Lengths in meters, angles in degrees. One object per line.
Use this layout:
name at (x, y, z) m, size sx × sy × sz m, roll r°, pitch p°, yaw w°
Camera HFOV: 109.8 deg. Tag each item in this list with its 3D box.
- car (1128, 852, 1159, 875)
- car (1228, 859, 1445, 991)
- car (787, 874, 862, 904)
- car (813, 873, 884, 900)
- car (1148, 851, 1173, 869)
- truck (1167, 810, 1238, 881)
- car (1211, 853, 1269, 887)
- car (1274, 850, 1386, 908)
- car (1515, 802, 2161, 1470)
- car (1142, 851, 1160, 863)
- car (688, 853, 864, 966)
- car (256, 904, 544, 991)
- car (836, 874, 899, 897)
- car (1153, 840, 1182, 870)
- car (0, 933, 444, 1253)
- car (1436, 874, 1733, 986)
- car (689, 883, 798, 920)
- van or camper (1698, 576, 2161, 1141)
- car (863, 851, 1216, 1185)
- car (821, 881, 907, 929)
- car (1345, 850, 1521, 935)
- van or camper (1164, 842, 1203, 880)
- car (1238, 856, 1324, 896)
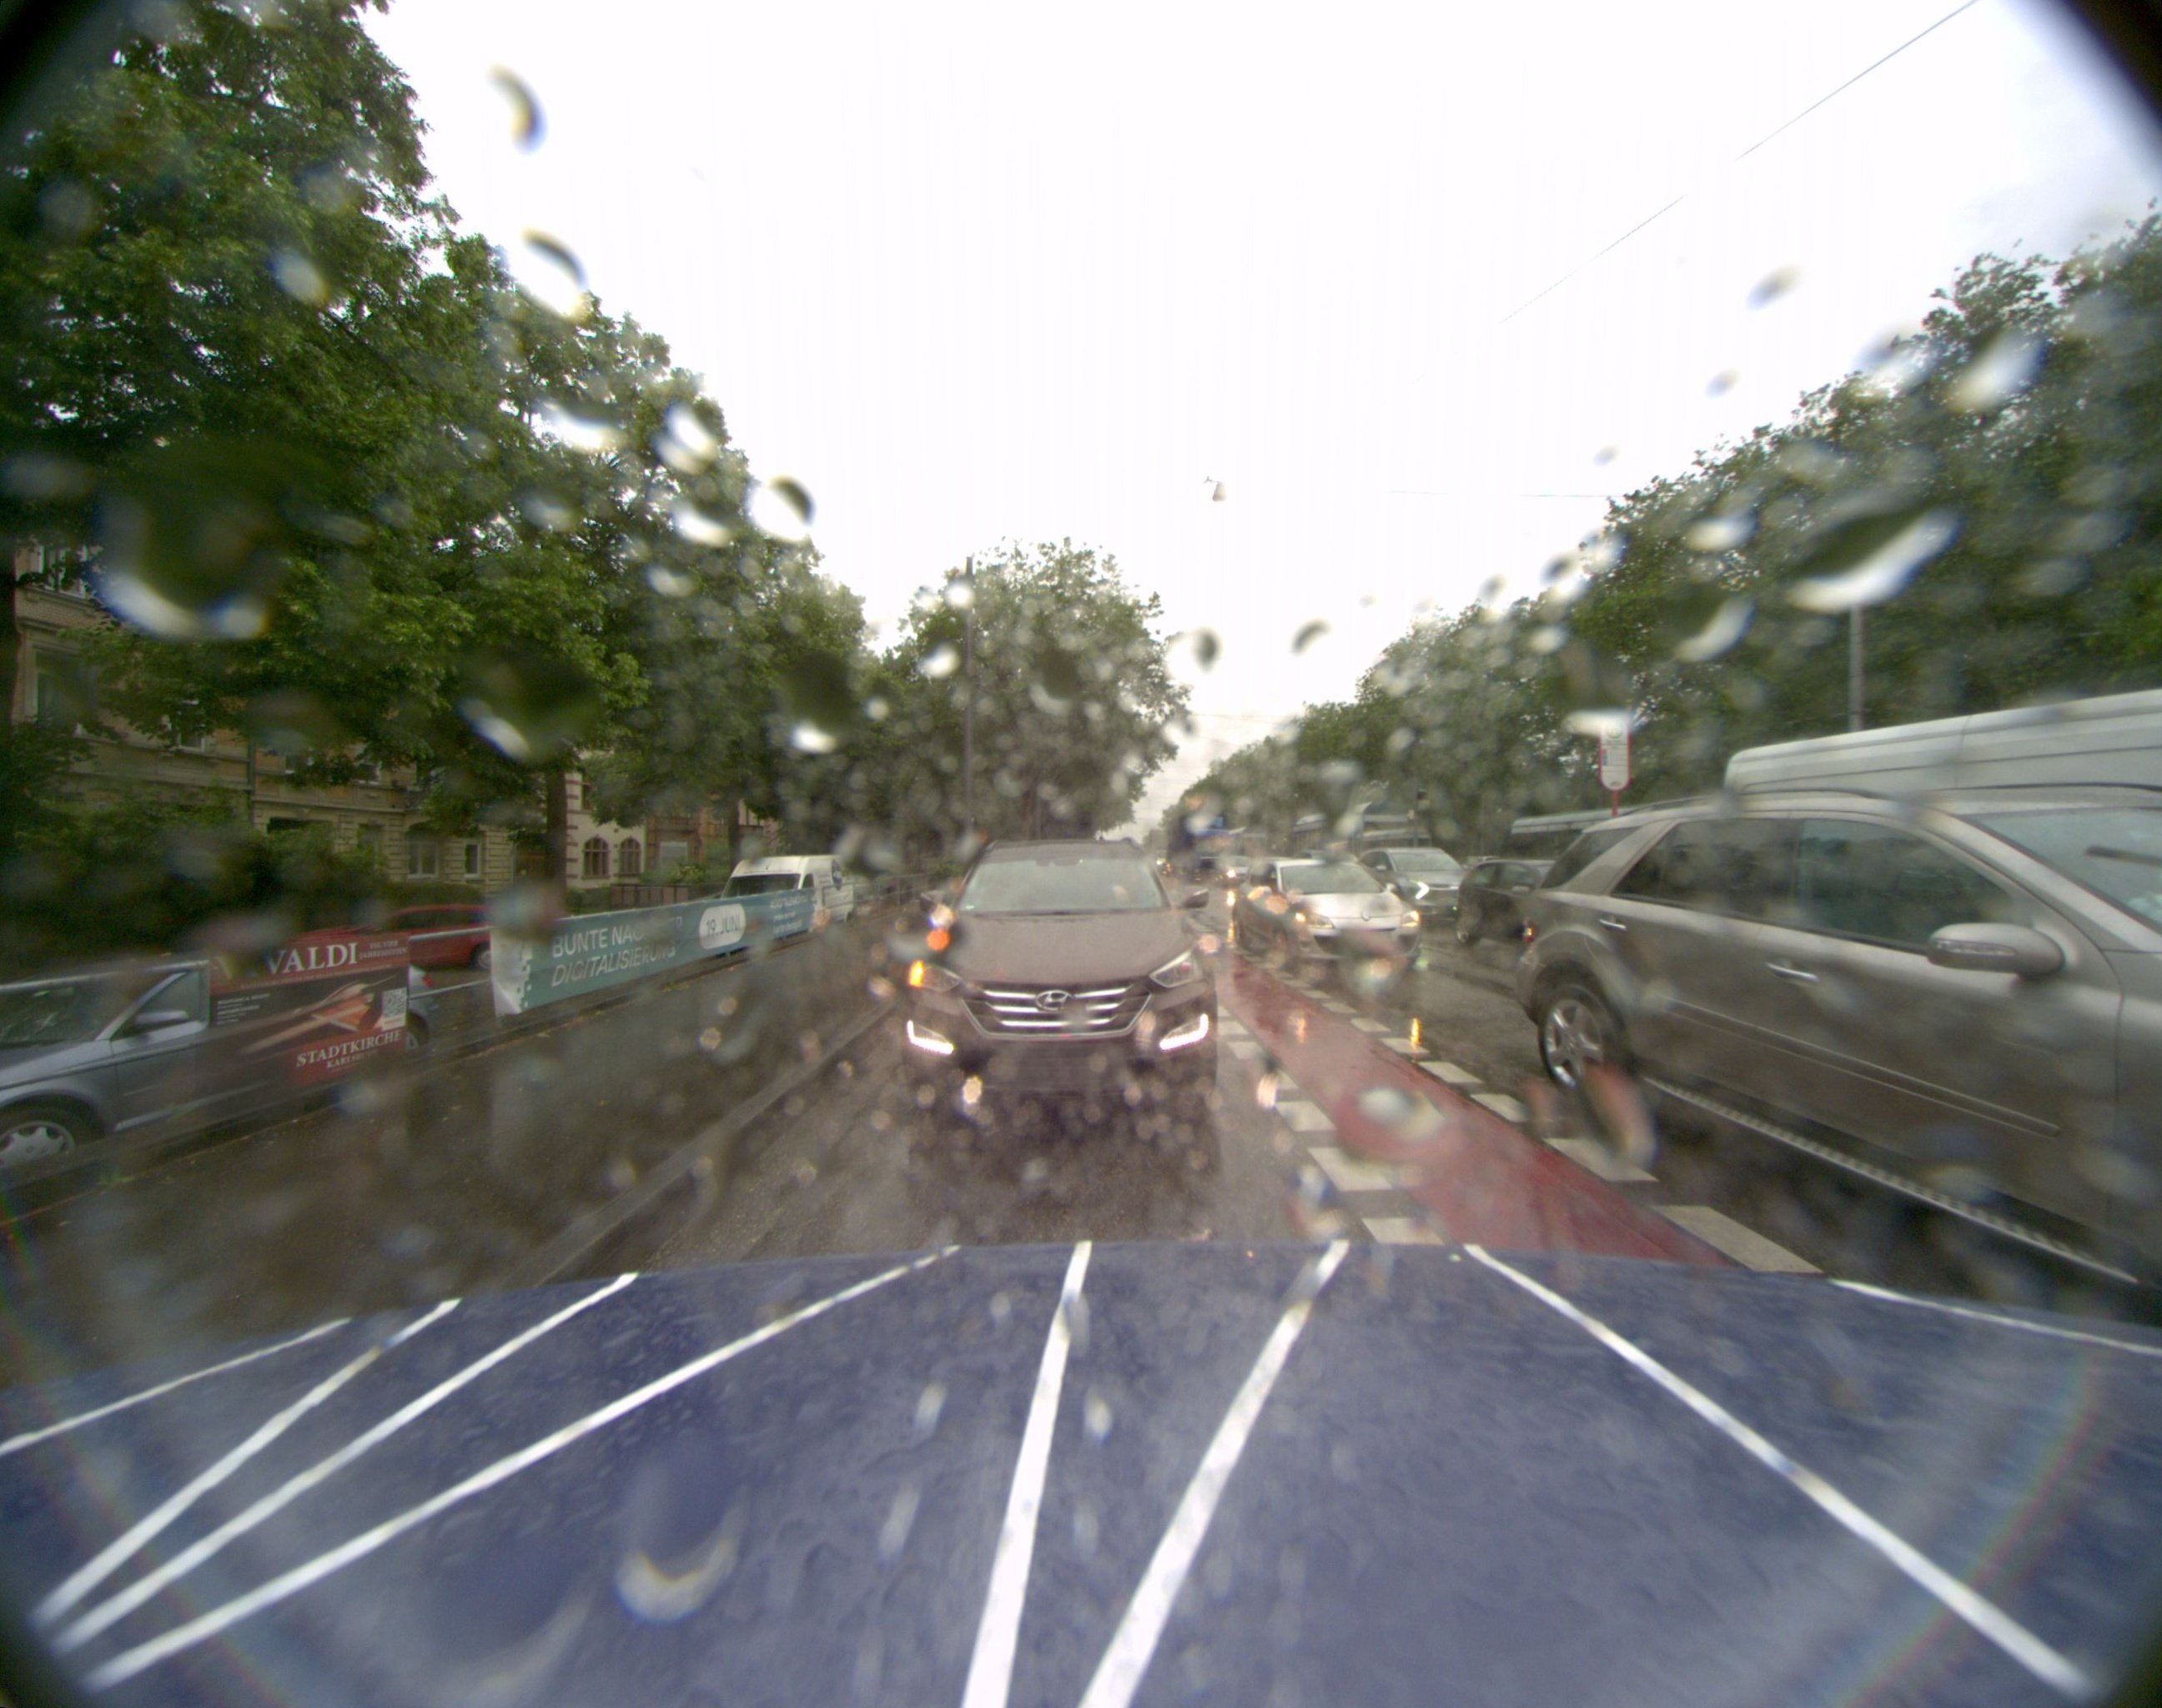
car at (4.435, 0.658, 54.715) m, size 1.899 × 1.569 × 3.999 m, roll 0°, pitch 0°, yaw 0°
car at (3.446, 0.859, 11.072) m, size 1.772 × 1.469 × 4.000 m, roll -2°, pitch 0°, yaw 0°
car at (-15.725, 2.124, 46.661) m, size 4.006 × 1.599 × 1.821 m, roll -2°, pitch 1°, yaw -31°
car at (-15.366, 2.125, 50.314) m, size 4.007 × 1.557 × 1.995 m, roll -2°, pitch 1°, yaw -34°
car at (7.611, 0.558, 73.324) m, size 1.998 × 1.568 × 4.000 m, roll -2°, pitch 0°, yaw 1°
truck at (7.218, -0.490, 46.468) m, size 2.545 × 3.866 × 9.810 m, roll 1°, pitch 0°, yaw -1°
car at (7.579, 0.723, 36.620) m, size 1.895 × 1.478 × 4.077 m, roll -1°, pitch 0°, yaw -1°
car at (7.566, 0.684, 23.580) m, size 1.999 × 1.611 × 4.319 m, roll -1°, pitch 0°, yaw -1°
car at (3.838, 0.712, 2.674) m, size 2.030 × 1.760 × 4.462 m, roll -2°, pitch 0°, yaw 0°
car at (7.357, 0.281, 80.227) m, size 1.467 × 1.185 × 3.615 m, roll -2°, pitch 0°, yaw 0°
car at (-7.706, 1.244, 20.092) m, size 2.214 × 2.406 × 6.157 m, roll -3°, pitch 0°, yaw -2°
car at (-14.627, 1.949, 16.737) m, size 4.439 × 1.444 × 1.894 m, roll 0°, pitch -1°, yaw -32°
car at (-15.542, 2.241, 55.353) m, size 4.007 × 1.455 × 1.908 m, roll -2°, pitch 1°, yaw -34°
car at (7.411, 0.055, 65.690) m, size 1.998 × 2.412 × 5.727 m, roll -2°, pitch 0°, yaw 3°
car at (-7.235, 1.593, 5.537) m, size 1.736 × 1.530 × 4.074 m, roll -2°, pitch 0°, yaw -1°
car at (6.742, 0.926, 10.765) m, size 1.467 × 1.111 × 4.087 m, roll -2°, pitch 0°, yaw 0°
car at (-14.861, 2.053, 33.497) m, size 4.269 × 1.372 × 1.687 m, roll -1°, pitch 1°, yaw -27°
van or camper at (7.050, 0.021, 4.372) m, size 2.164 × 3.123 × 5.850 m, roll 0°, pitch 0°, yaw -1°
car at (-0.147, 0.840, 5.711) m, size 1.756 × 1.657 × 3.678 m, roll -2°, pitch 0°, yaw 2°
car at (-7.661, 1.763, 27.309) m, size 1.972 × 1.345 × 4.383 m, roll -3°, pitch 0°, yaw -3°
car at (7.467, 0.726, 16.681) m, size 1.919 × 1.614 × 4.454 m, roll 0°, pitch 0°, yaw 2°
van or camper at (7.636, 0.480, 57.112) m, size 1.998 × 2.555 × 6.431 m, roll -2°, pitch 0°, yaw 0°
car at (7.523, 0.786, 29.058) m, size 1.999 × 1.386 × 4.606 m, roll 0°, pitch 0°, yaw -1°
